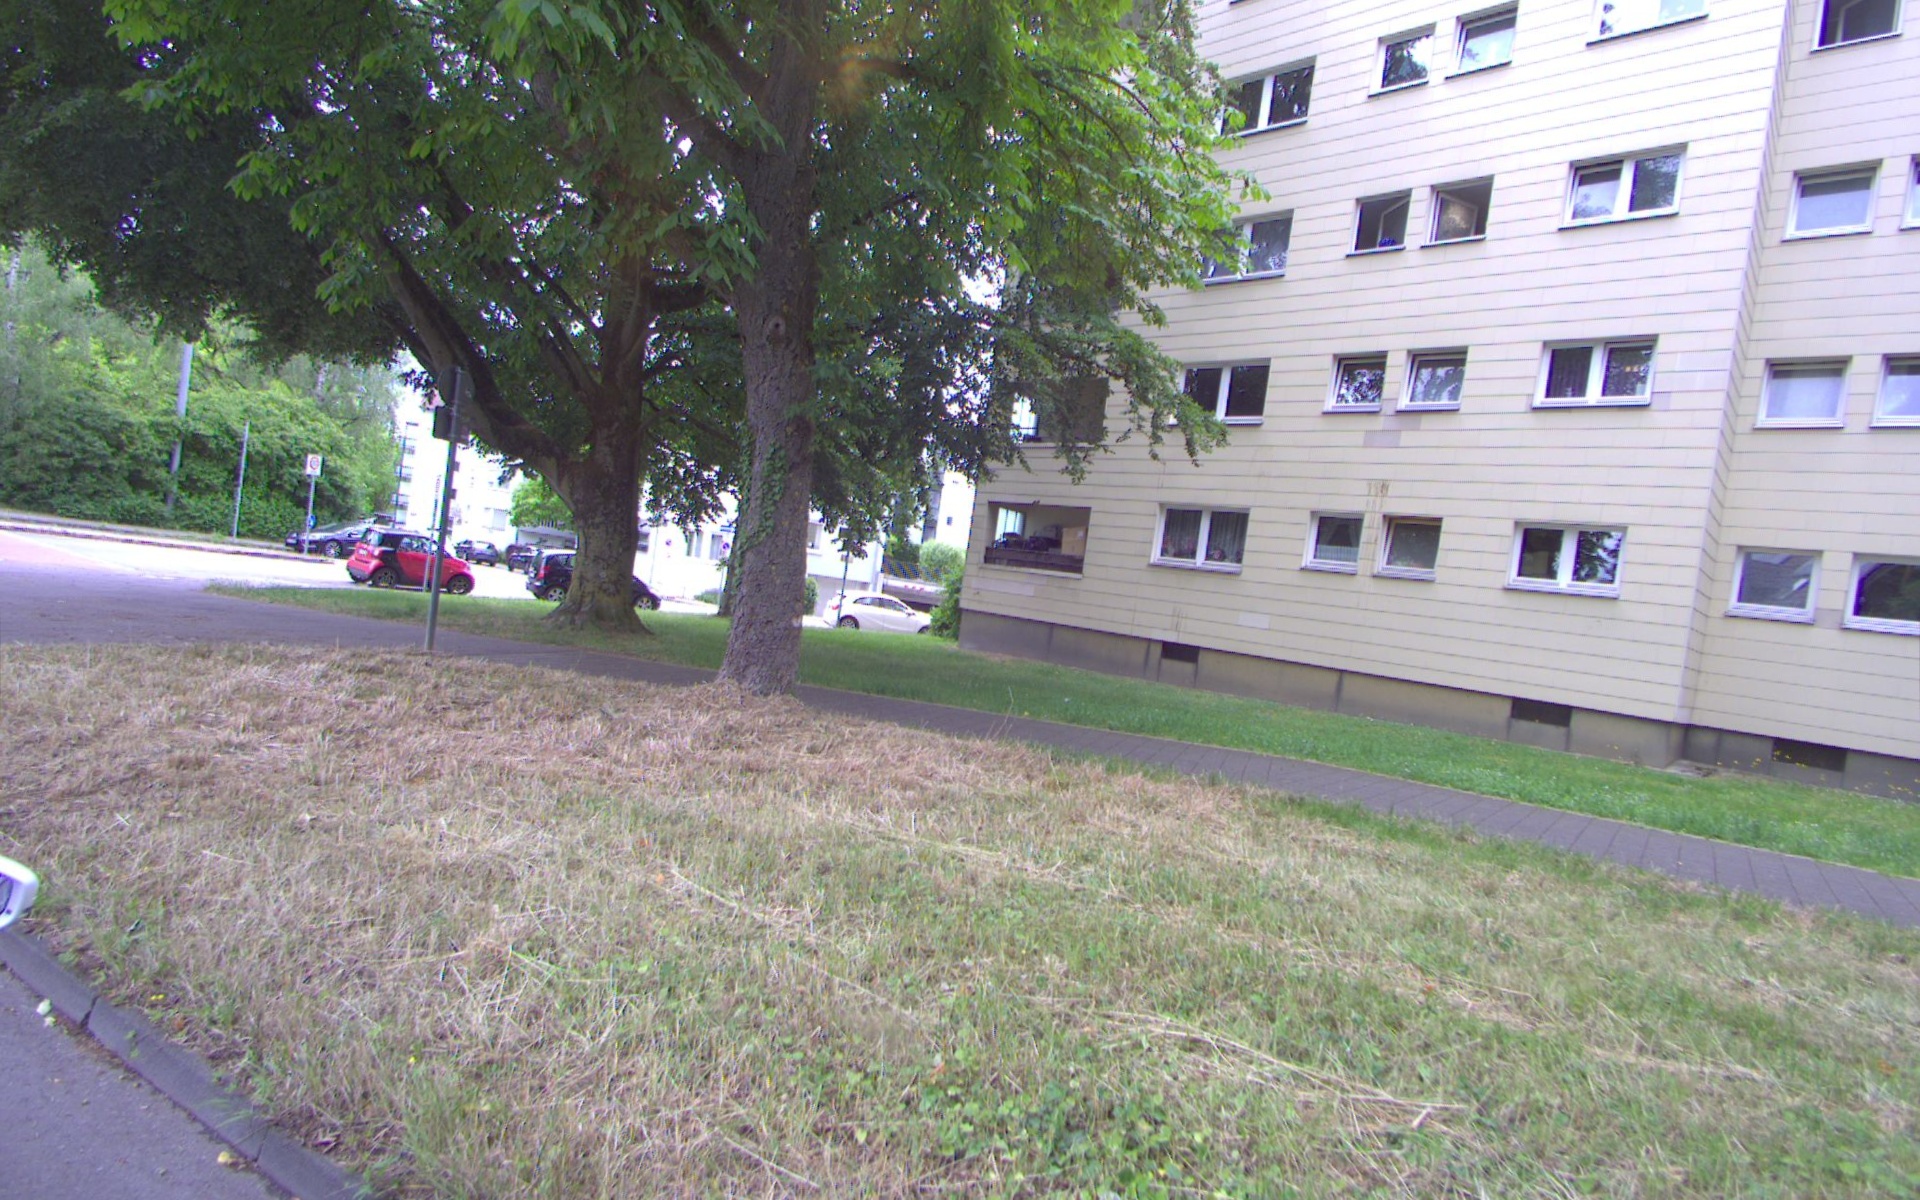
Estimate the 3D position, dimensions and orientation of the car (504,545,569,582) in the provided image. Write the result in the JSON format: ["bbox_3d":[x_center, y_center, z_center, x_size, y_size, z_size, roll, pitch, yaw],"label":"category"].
[{"bbox_3d":[-22.844,-1.973,54.228,1.922,1.563,4.016,8,-1,-42],"label":"car"}]

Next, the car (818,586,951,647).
[{"bbox_3d":[-2.517,0.531,33.250,4.008,1.452,1.789,7,1,-15],"label":"car"}]

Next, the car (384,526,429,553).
[{"bbox_3d":[-41.137,-4.516,74.745,1.922,1.563,4.016,8,-1,-42],"label":"car"}]

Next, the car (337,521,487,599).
[{"bbox_3d":[-14.440,-1.041,26.587,1.669,1.524,2.913,9,0,36],"label":"car"}]

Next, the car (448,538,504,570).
[{"bbox_3d":[-29.936,-2.835,62.158,1.922,1.563,4.016,8,-1,-42],"label":"car"}]

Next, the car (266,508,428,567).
[{"bbox_3d":[-23.047,-2.311,38.049,2.002,1.456,4.797,8,0,25],"label":"car"}]

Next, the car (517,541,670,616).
[{"bbox_3d":[-10.840,-0.628,29.815,3.791,1.610,1.802,9,-1,-34],"label":"car"}]

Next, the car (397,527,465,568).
[{"bbox_3d":[-24.650,-2.467,46.818,1.797,1.505,3.624,8,-1,-43],"label":"car"}]
